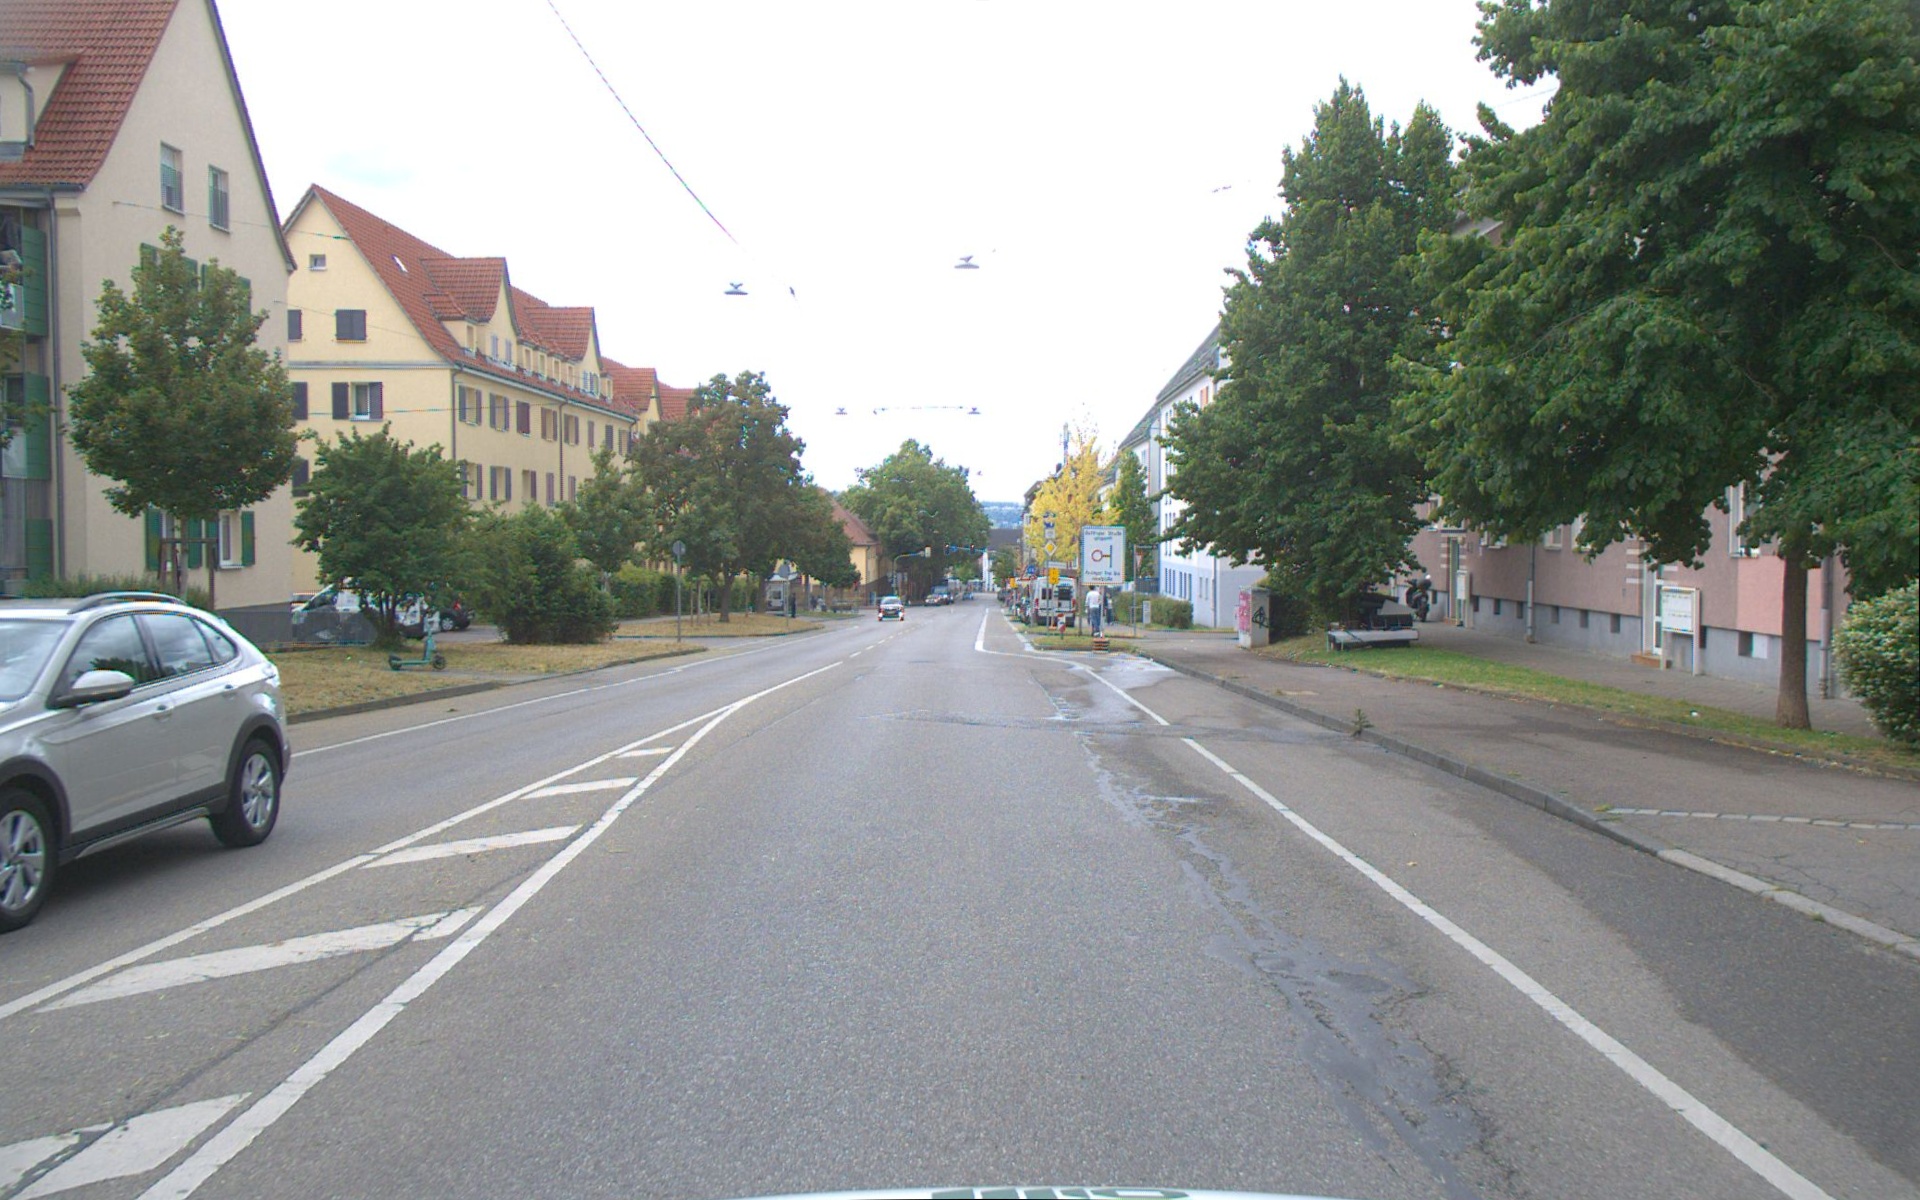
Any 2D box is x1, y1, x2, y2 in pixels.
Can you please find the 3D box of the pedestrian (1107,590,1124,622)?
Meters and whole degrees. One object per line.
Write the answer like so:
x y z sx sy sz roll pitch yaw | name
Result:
8.088 0.299 85.939 0.644 1.633 0.574 -4 0 -8 | pedestrian

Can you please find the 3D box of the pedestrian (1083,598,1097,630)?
6.793 0.721 86.608 0.566 1.673 0.559 0 -1 -13 | pedestrian

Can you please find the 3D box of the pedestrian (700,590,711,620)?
-15.725 0.295 102.206 0.503 1.811 0.753 1 0 0 | pedestrian

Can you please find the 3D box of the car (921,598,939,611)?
-3.446 0.503 190.880 1.719 1.498 4.309 -1 0 4 | car

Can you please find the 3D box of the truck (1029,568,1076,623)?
4.536 -0.212 81.781 2.010 2.610 5.689 1 0 0 | truck

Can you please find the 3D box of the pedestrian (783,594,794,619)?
-11.735 0.441 113.195 0.585 1.757 0.861 1 0 3 | pedestrian

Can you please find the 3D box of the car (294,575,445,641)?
-20.876 0.284 58.615 4.620 2.293 1.995 0 0 1 | car

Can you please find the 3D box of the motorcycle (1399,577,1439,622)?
13.028 -0.026 46.980 0.578 1.249 1.967 0 0 0 | motorcycle

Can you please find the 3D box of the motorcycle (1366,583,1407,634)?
13.753 0.264 53.414 0.716 1.596 2.551 1 0 2 | motorcycle

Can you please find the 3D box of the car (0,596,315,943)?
-5.062 0.755 8.645 1.765 1.489 4.029 -1 0 0 | car

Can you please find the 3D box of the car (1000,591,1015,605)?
7.160 -0.329 249.483 1.953 1.969 4.917 1 0 -2 | car

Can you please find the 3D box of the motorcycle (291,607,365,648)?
-21.027 0.893 54.985 2.552 1.301 1.014 1 0 34 | motorcycle

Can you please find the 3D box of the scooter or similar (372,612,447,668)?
-11.129 0.806 33.447 1.343 1.105 0.466 -1 0 -4 | scooter or similar

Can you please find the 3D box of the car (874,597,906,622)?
-4.821 0.615 114.518 1.860 1.648 4.362 1 0 2 | car

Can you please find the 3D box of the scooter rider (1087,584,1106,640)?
4.955 0.434 60.209 0.612 2.049 0.758 1 0 0 | scooter rider

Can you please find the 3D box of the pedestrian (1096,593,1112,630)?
7.477 0.614 85.785 0.658 1.920 0.764 0 -1 -11 | pedestrian

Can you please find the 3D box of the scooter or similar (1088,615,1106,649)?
4.979 1.137 60.107 0.480 1.183 2.075 1 0 0 | scooter or similar
